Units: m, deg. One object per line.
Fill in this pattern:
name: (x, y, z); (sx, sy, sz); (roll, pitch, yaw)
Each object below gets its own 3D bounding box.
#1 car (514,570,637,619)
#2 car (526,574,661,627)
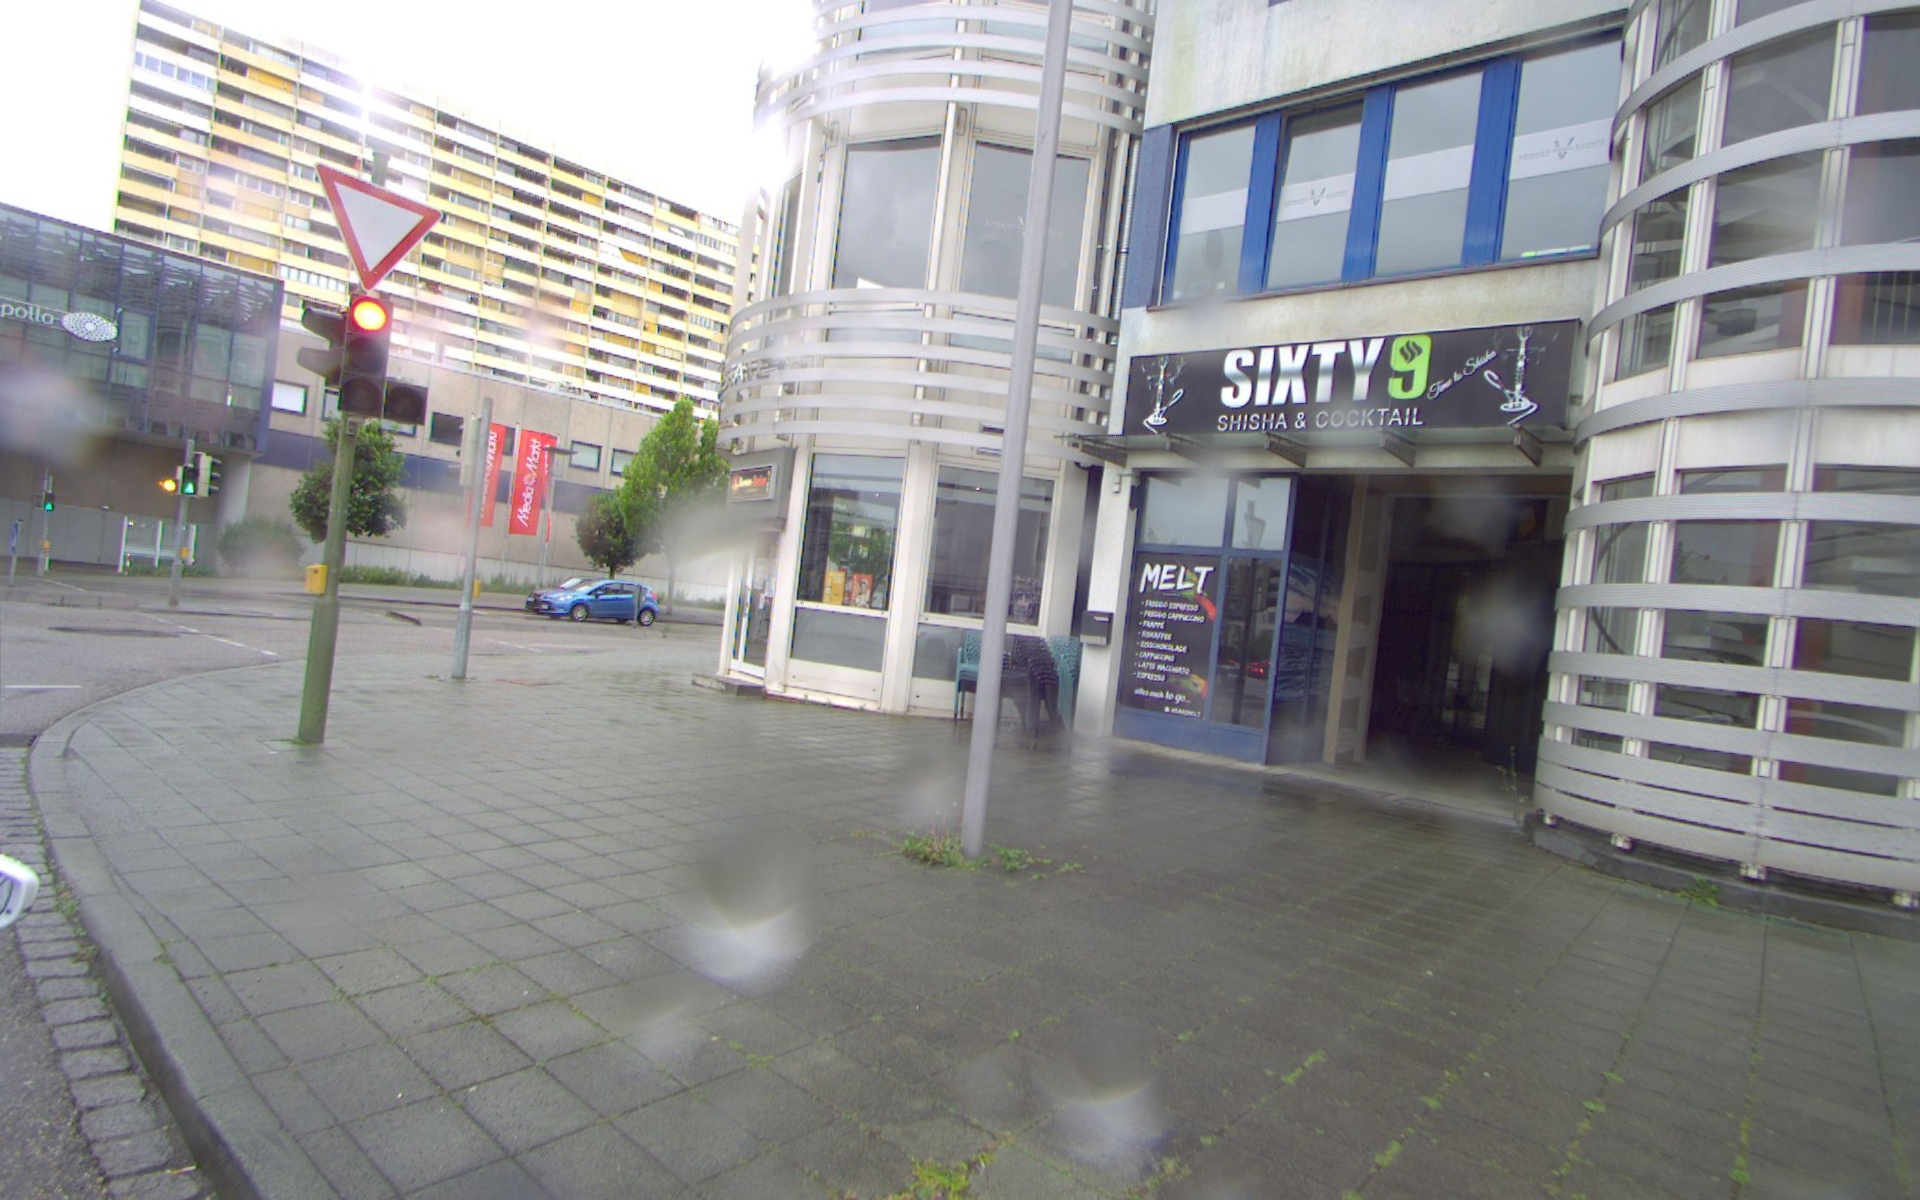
car: (-13.745, -0.169, 36.077); (1.720, 1.412, 3.677); (5, 0, 41)
car: (-12.091, 0.054, 33.390); (1.655, 1.415, 3.837); (5, 0, 40)
